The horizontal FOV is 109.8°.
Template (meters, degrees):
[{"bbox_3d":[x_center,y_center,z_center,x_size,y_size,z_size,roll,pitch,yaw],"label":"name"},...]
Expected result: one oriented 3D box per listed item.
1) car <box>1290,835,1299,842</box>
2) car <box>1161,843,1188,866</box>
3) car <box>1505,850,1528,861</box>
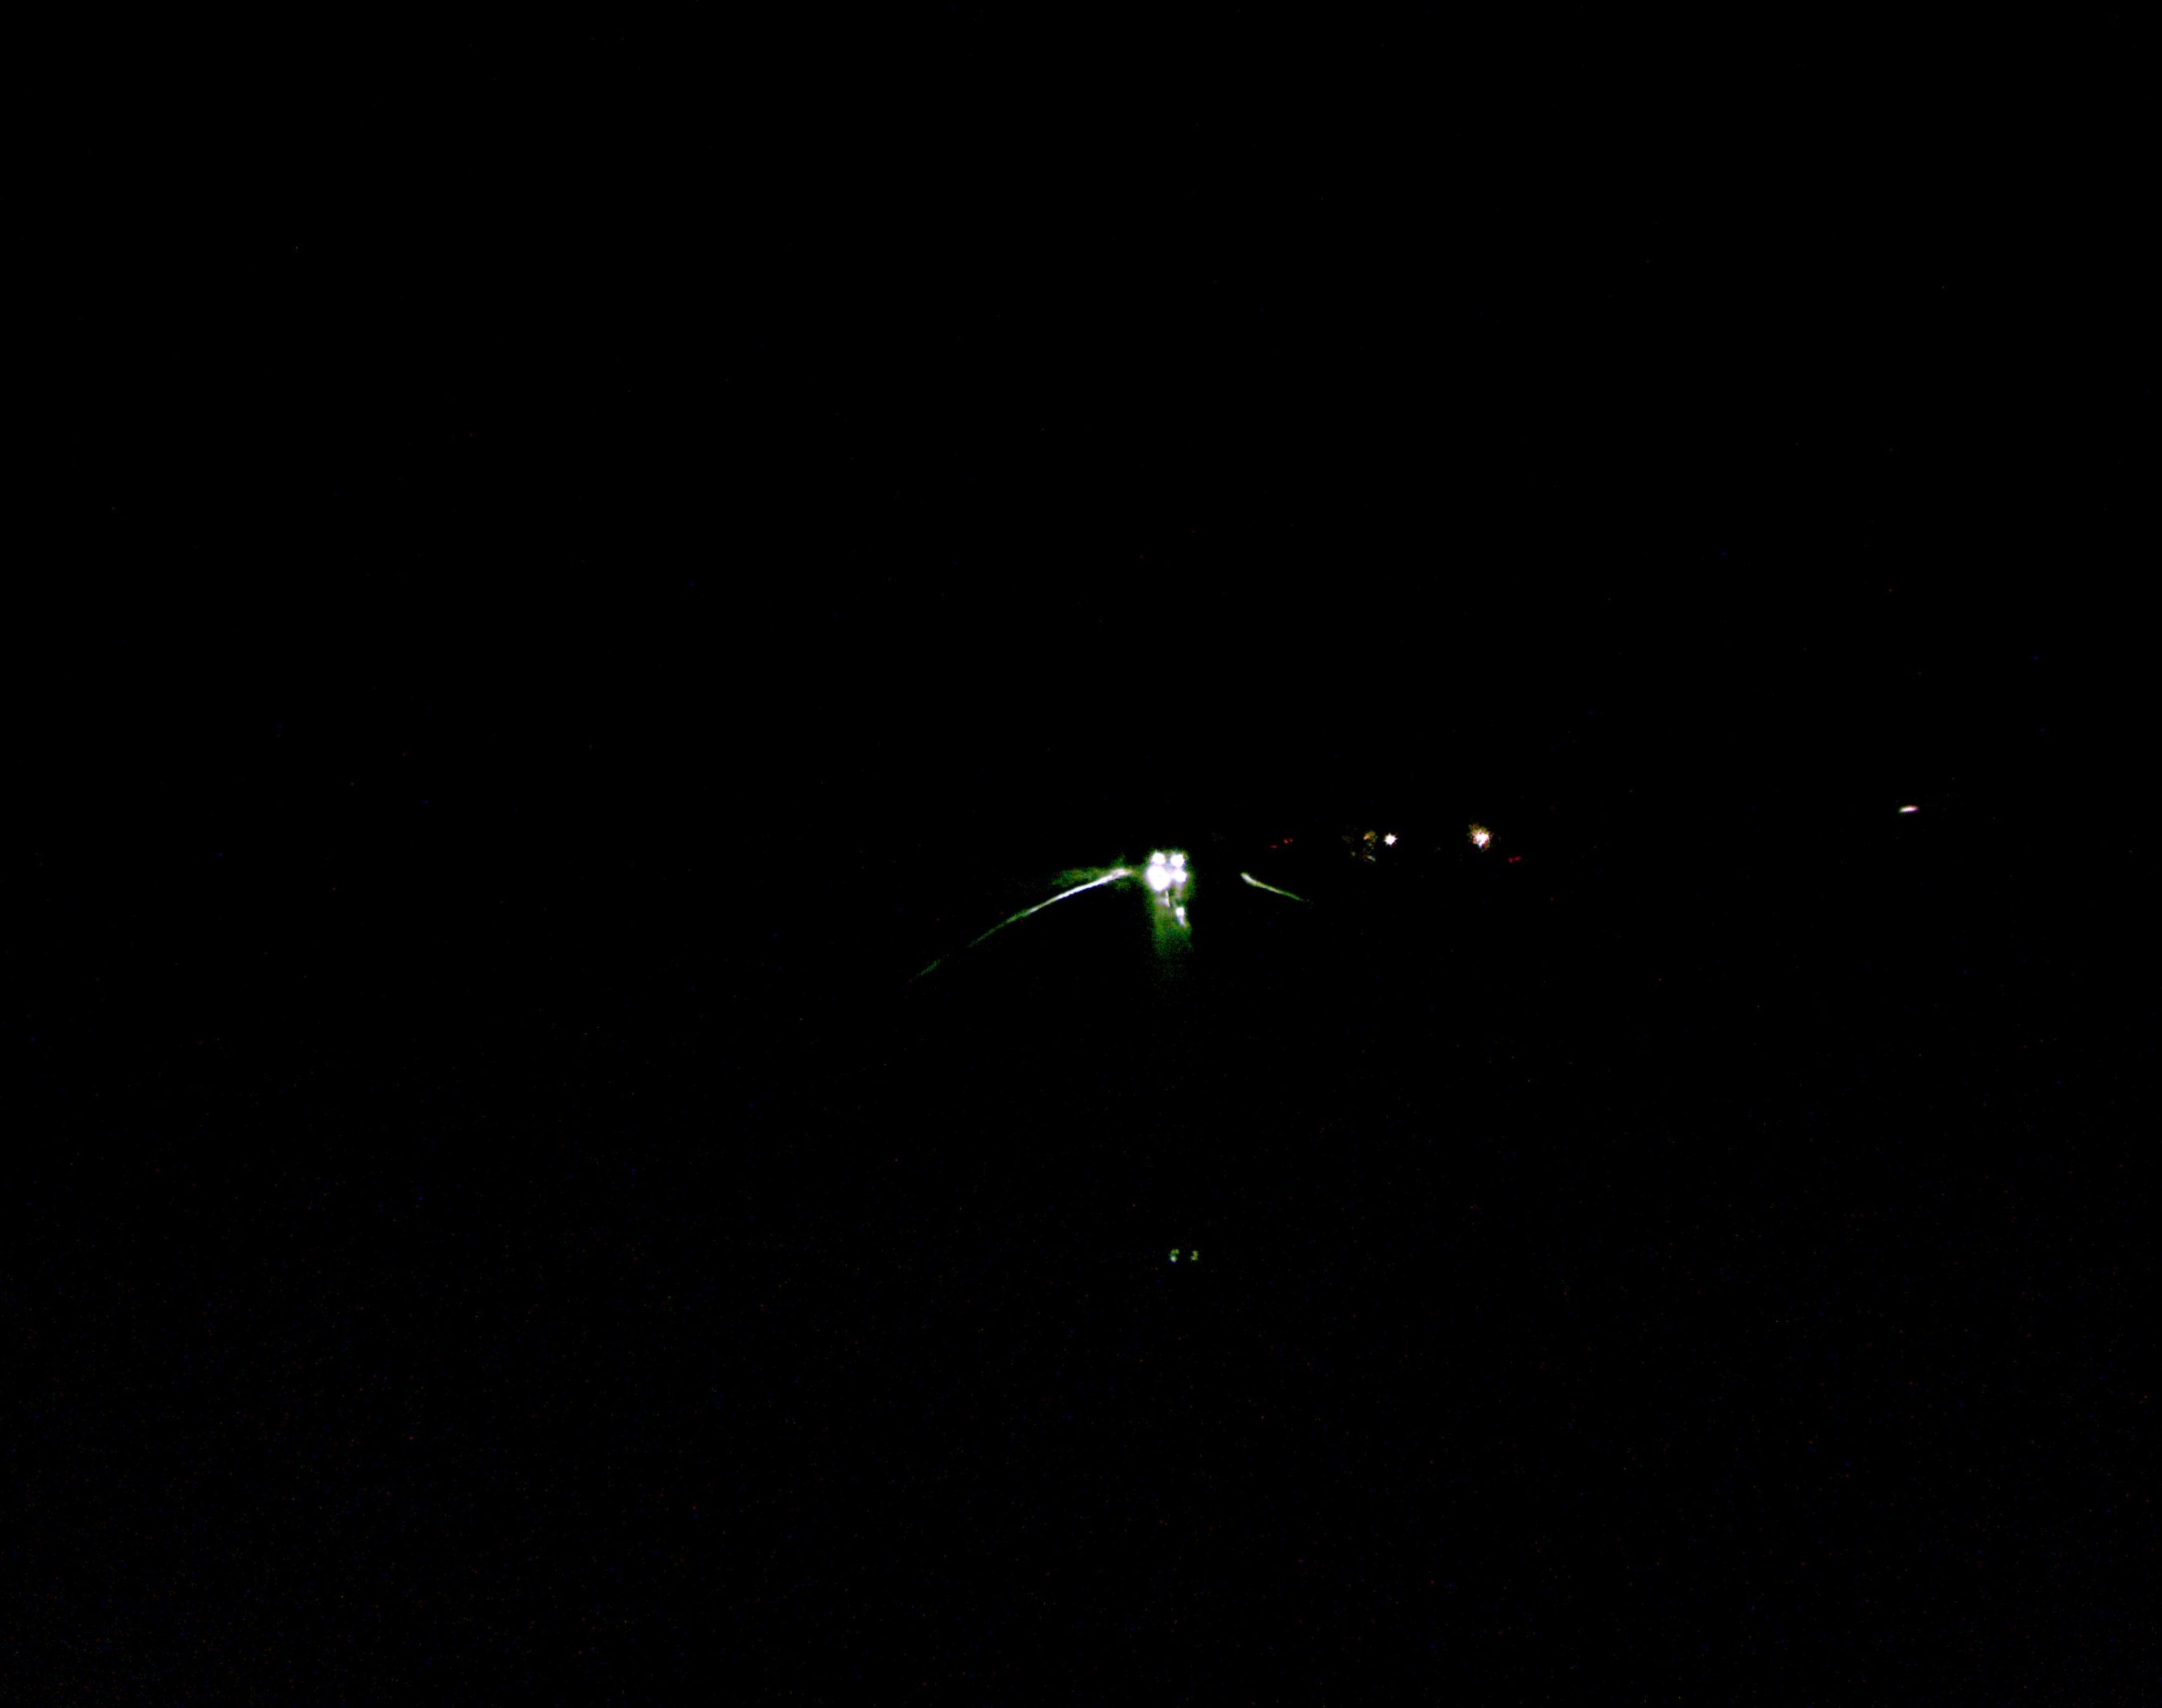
[{"bbox_3d":[53.106,-3.818,188.926,1.737,1.534,4.004,-2,1,19],"label":"car"},{"bbox_3d":[7.460,0.012,60.467,1.958,1.712,4.002,-1,1,9],"label":"car"},{"bbox_3d":[65.702,0.185,114.626,1.659,1.512,3.450,-3,1,5],"label":"car"}]
